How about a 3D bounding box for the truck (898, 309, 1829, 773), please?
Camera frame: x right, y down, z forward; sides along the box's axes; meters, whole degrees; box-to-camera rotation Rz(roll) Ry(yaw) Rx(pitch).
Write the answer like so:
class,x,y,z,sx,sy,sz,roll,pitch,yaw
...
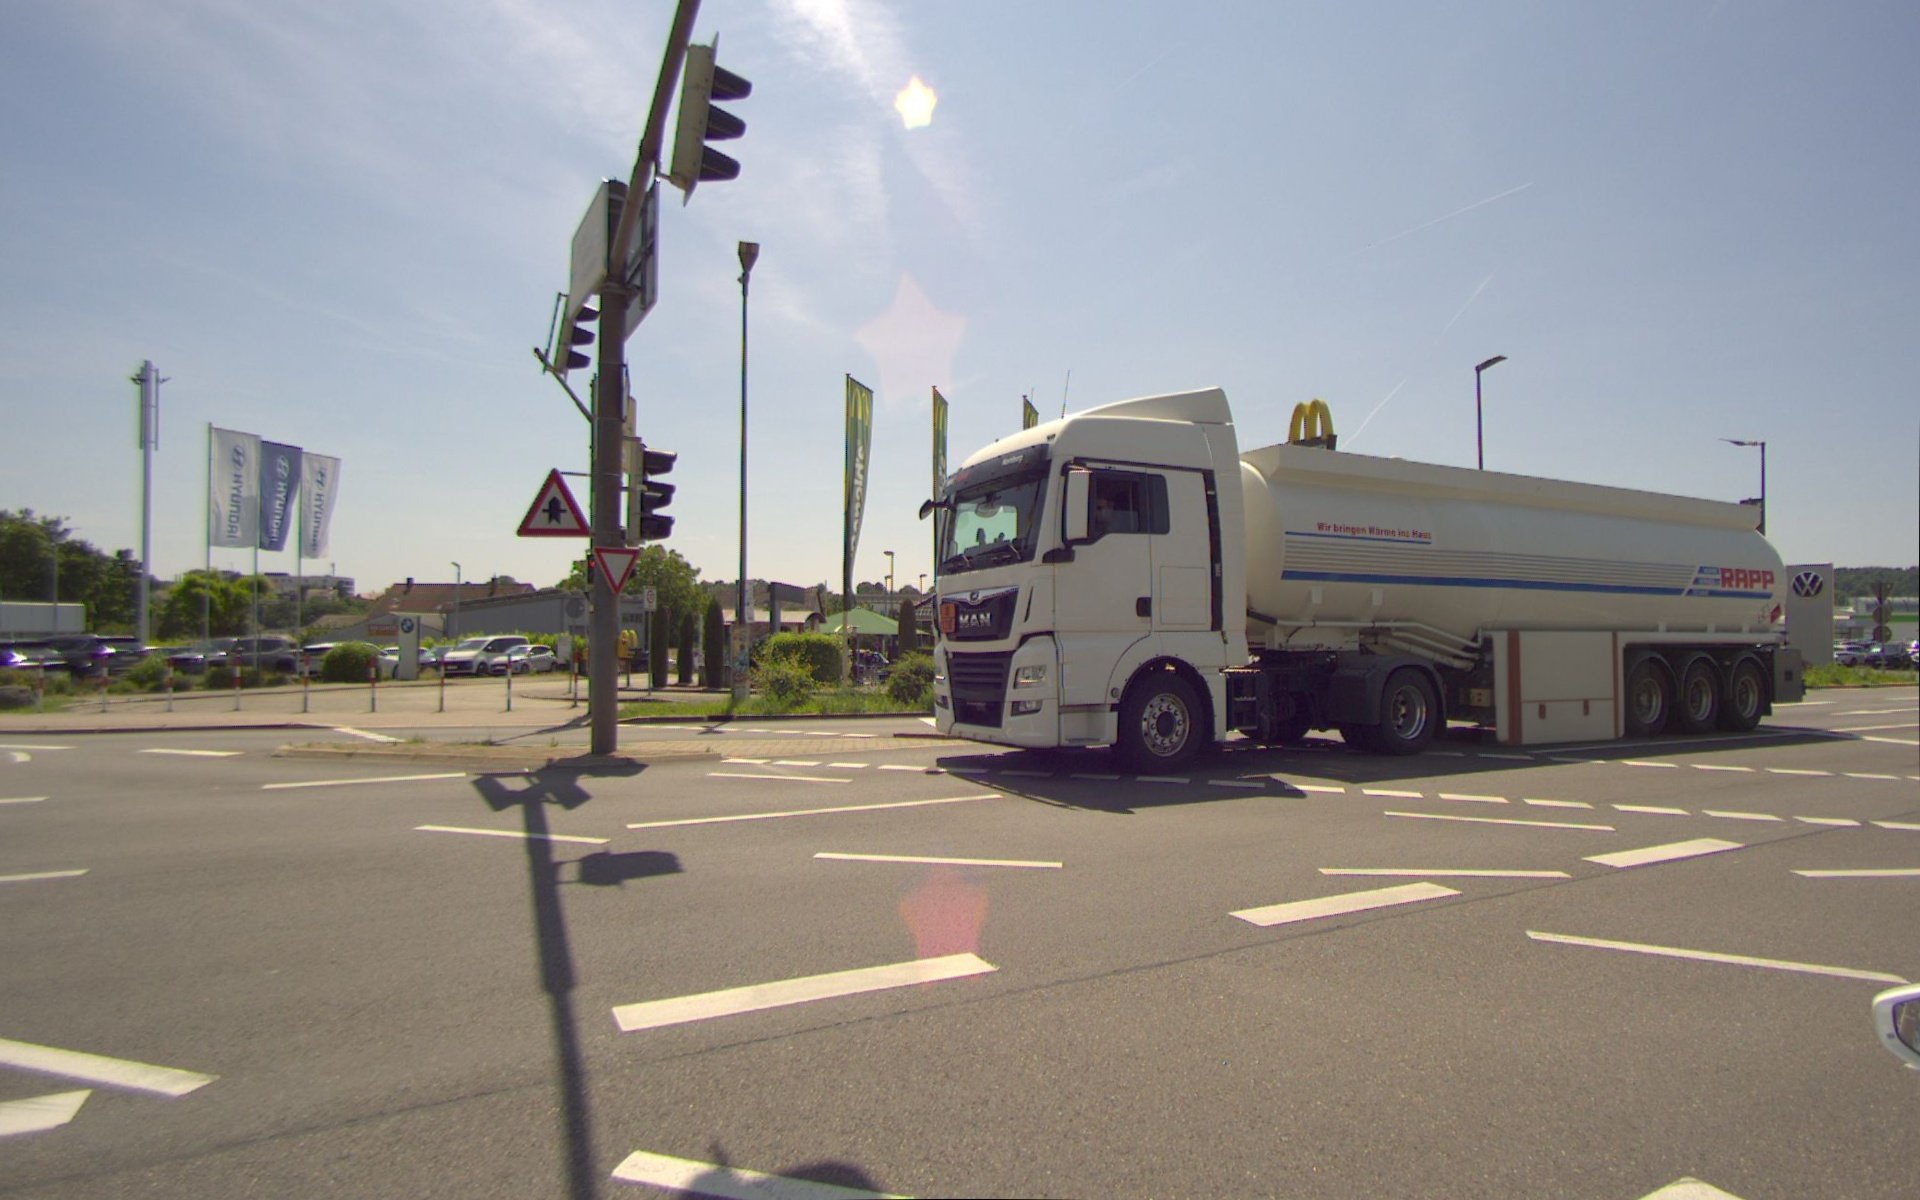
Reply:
class,x,y,z,sx,sy,sz,roll,pitch,yaw
truck,6.491,-0.318,13.480,14.941,4.071,2.595,1,-3,-28
